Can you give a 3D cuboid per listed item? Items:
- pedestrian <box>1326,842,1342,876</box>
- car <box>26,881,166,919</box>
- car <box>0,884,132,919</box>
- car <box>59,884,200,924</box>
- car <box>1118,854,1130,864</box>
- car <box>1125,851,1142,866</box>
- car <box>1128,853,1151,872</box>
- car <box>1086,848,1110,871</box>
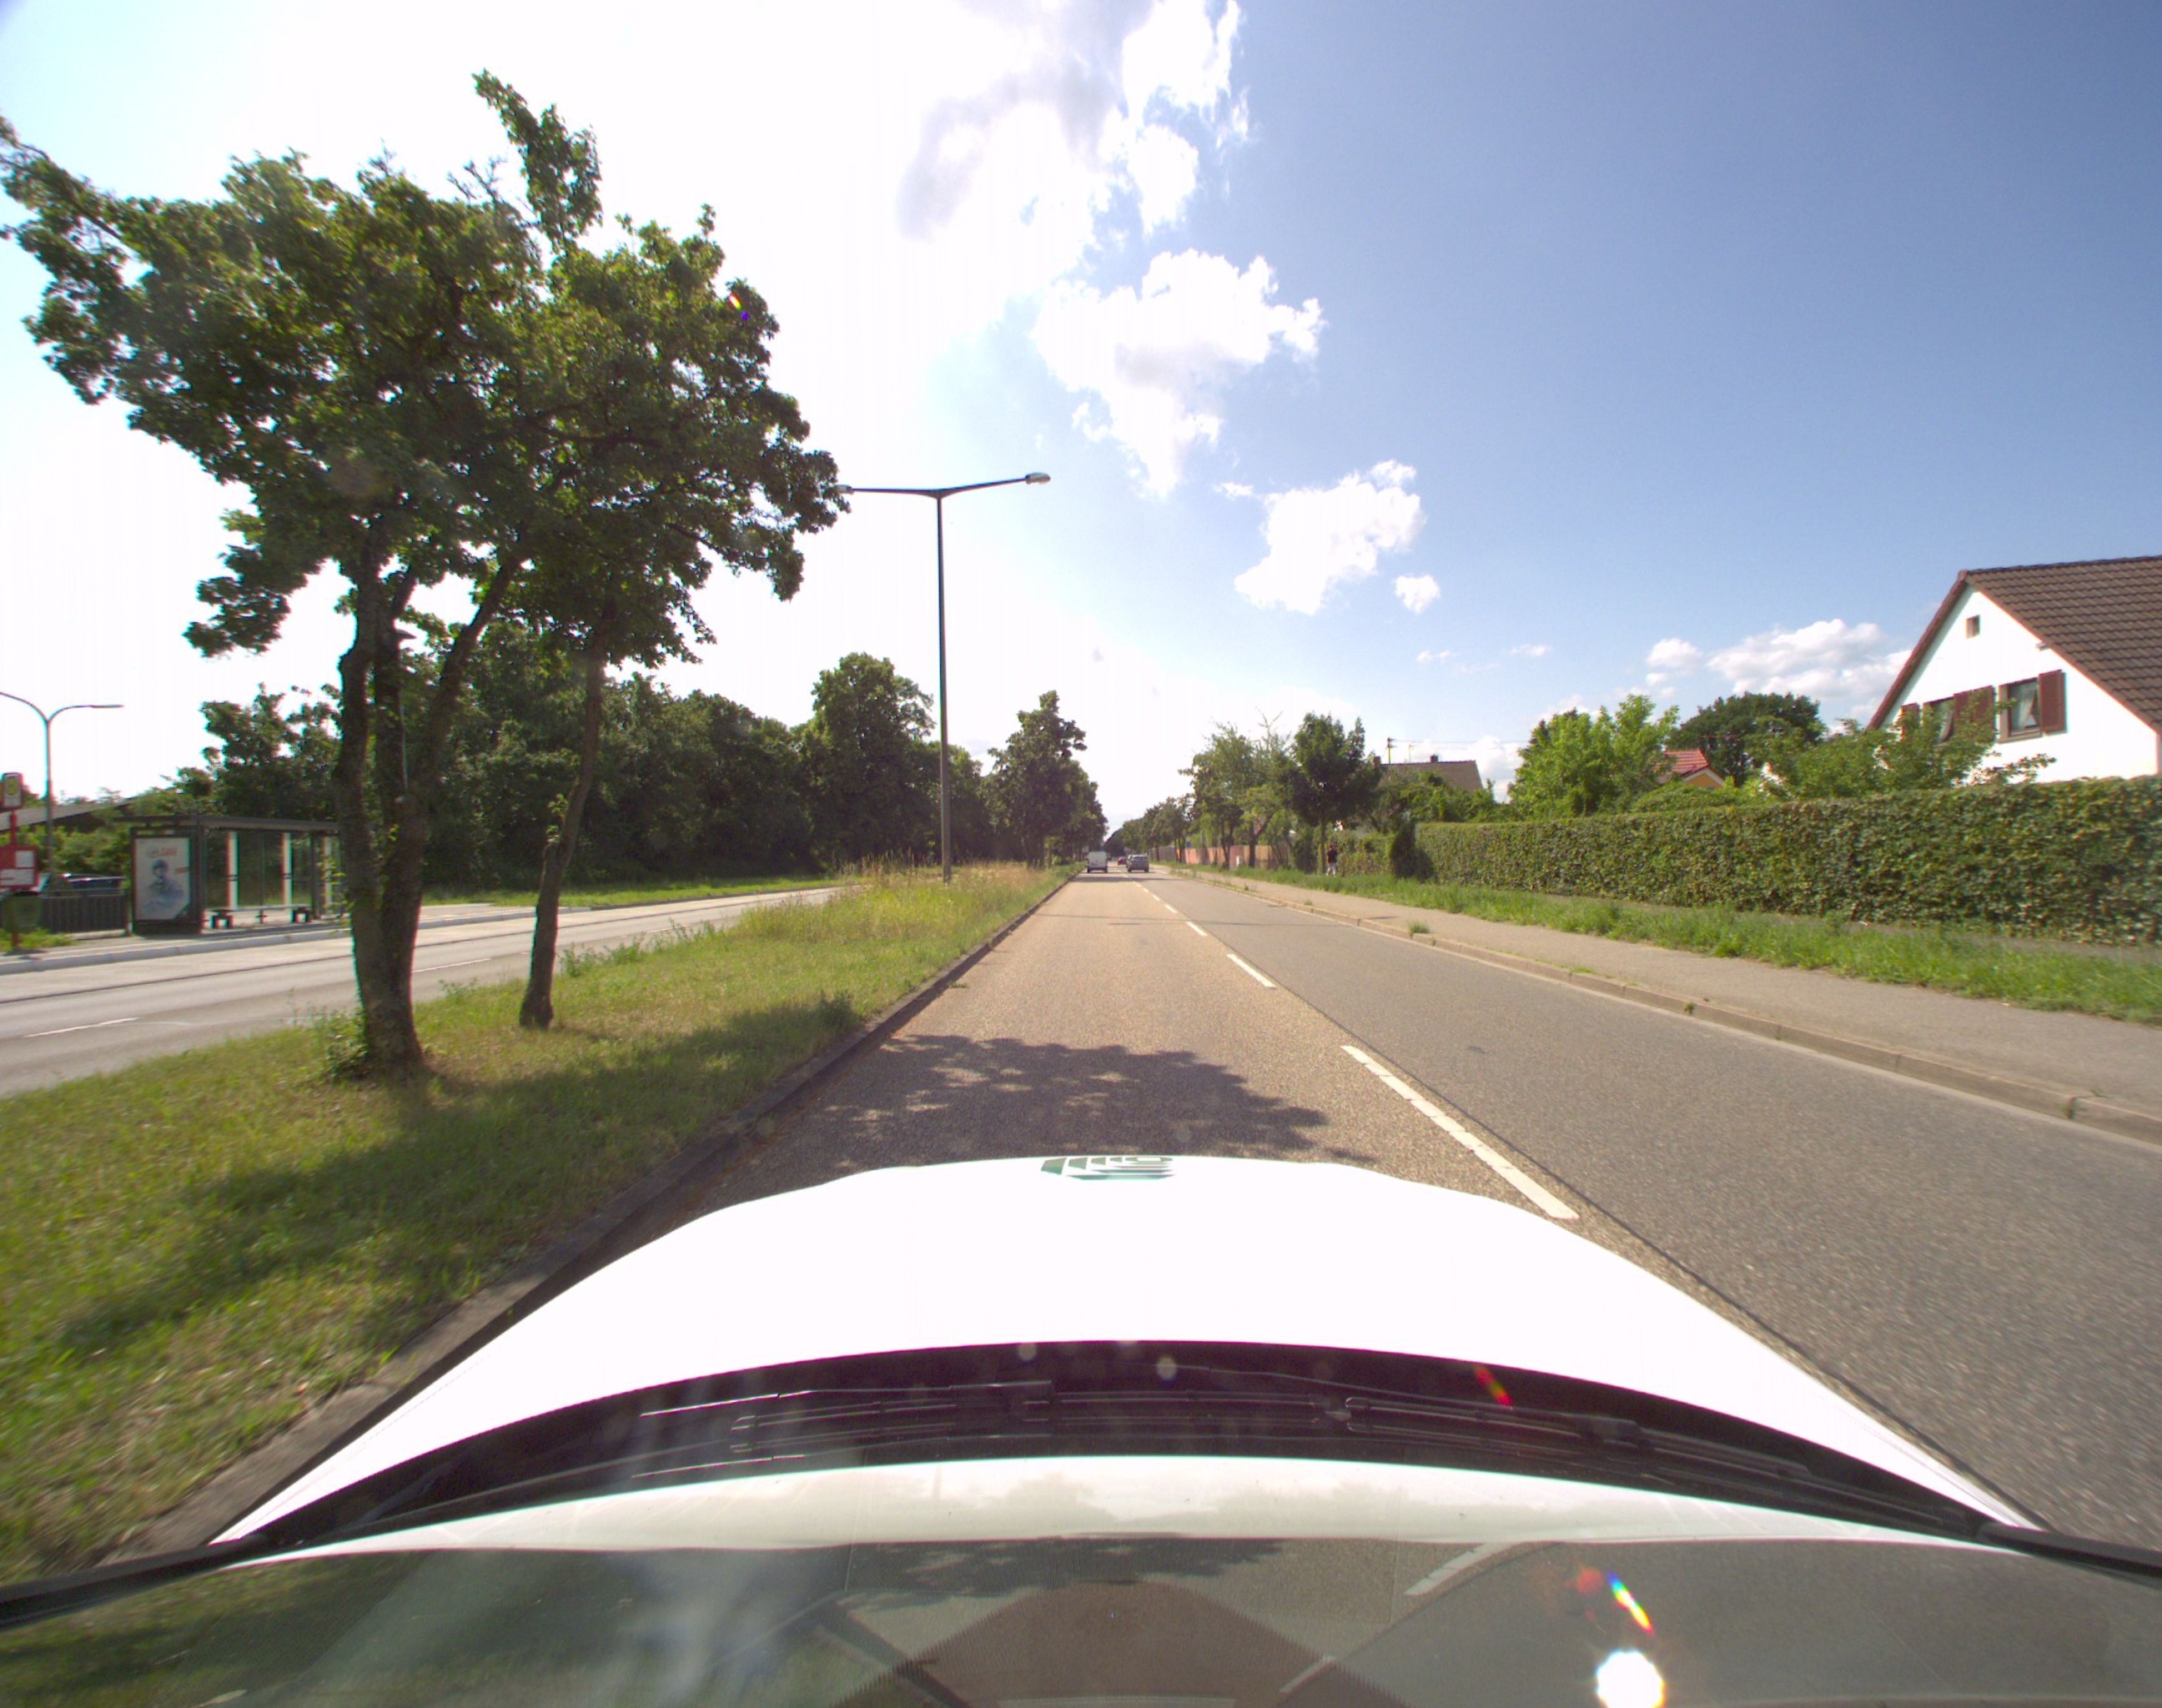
[{"bbox_3d":[12.662,0.235,40.751,0.558,1.677,0.634,-1,0,1],"label":"pedestrian"},{"bbox_3d":[-45.457,2.082,37.651,1.737,1.508,4.026,-1,0,37],"label":"car"},{"bbox_3d":[-49.229,2.257,39.566,1.974,1.420,4.025,-1,0,41],"label":"car"},{"bbox_3d":[-42.540,2.184,36.491,1.737,1.508,4.026,-1,0,37],"label":"car"},{"bbox_3d":[7.182,0.770,136.133,1.873,1.587,4.001,-1,0,1],"label":"car"},{"bbox_3d":[6.351,0.545,98.638,1.868,1.652,4.001,-1,0,2],"label":"car"},{"bbox_3d":[5.208,0.753,73.003,1.868,1.589,4.186,-1,0,2],"label":"car"},{"bbox_3d":[1.504,0.497,71.639,2.058,1.912,4.647,-1,0,1],"label":"car"}]
